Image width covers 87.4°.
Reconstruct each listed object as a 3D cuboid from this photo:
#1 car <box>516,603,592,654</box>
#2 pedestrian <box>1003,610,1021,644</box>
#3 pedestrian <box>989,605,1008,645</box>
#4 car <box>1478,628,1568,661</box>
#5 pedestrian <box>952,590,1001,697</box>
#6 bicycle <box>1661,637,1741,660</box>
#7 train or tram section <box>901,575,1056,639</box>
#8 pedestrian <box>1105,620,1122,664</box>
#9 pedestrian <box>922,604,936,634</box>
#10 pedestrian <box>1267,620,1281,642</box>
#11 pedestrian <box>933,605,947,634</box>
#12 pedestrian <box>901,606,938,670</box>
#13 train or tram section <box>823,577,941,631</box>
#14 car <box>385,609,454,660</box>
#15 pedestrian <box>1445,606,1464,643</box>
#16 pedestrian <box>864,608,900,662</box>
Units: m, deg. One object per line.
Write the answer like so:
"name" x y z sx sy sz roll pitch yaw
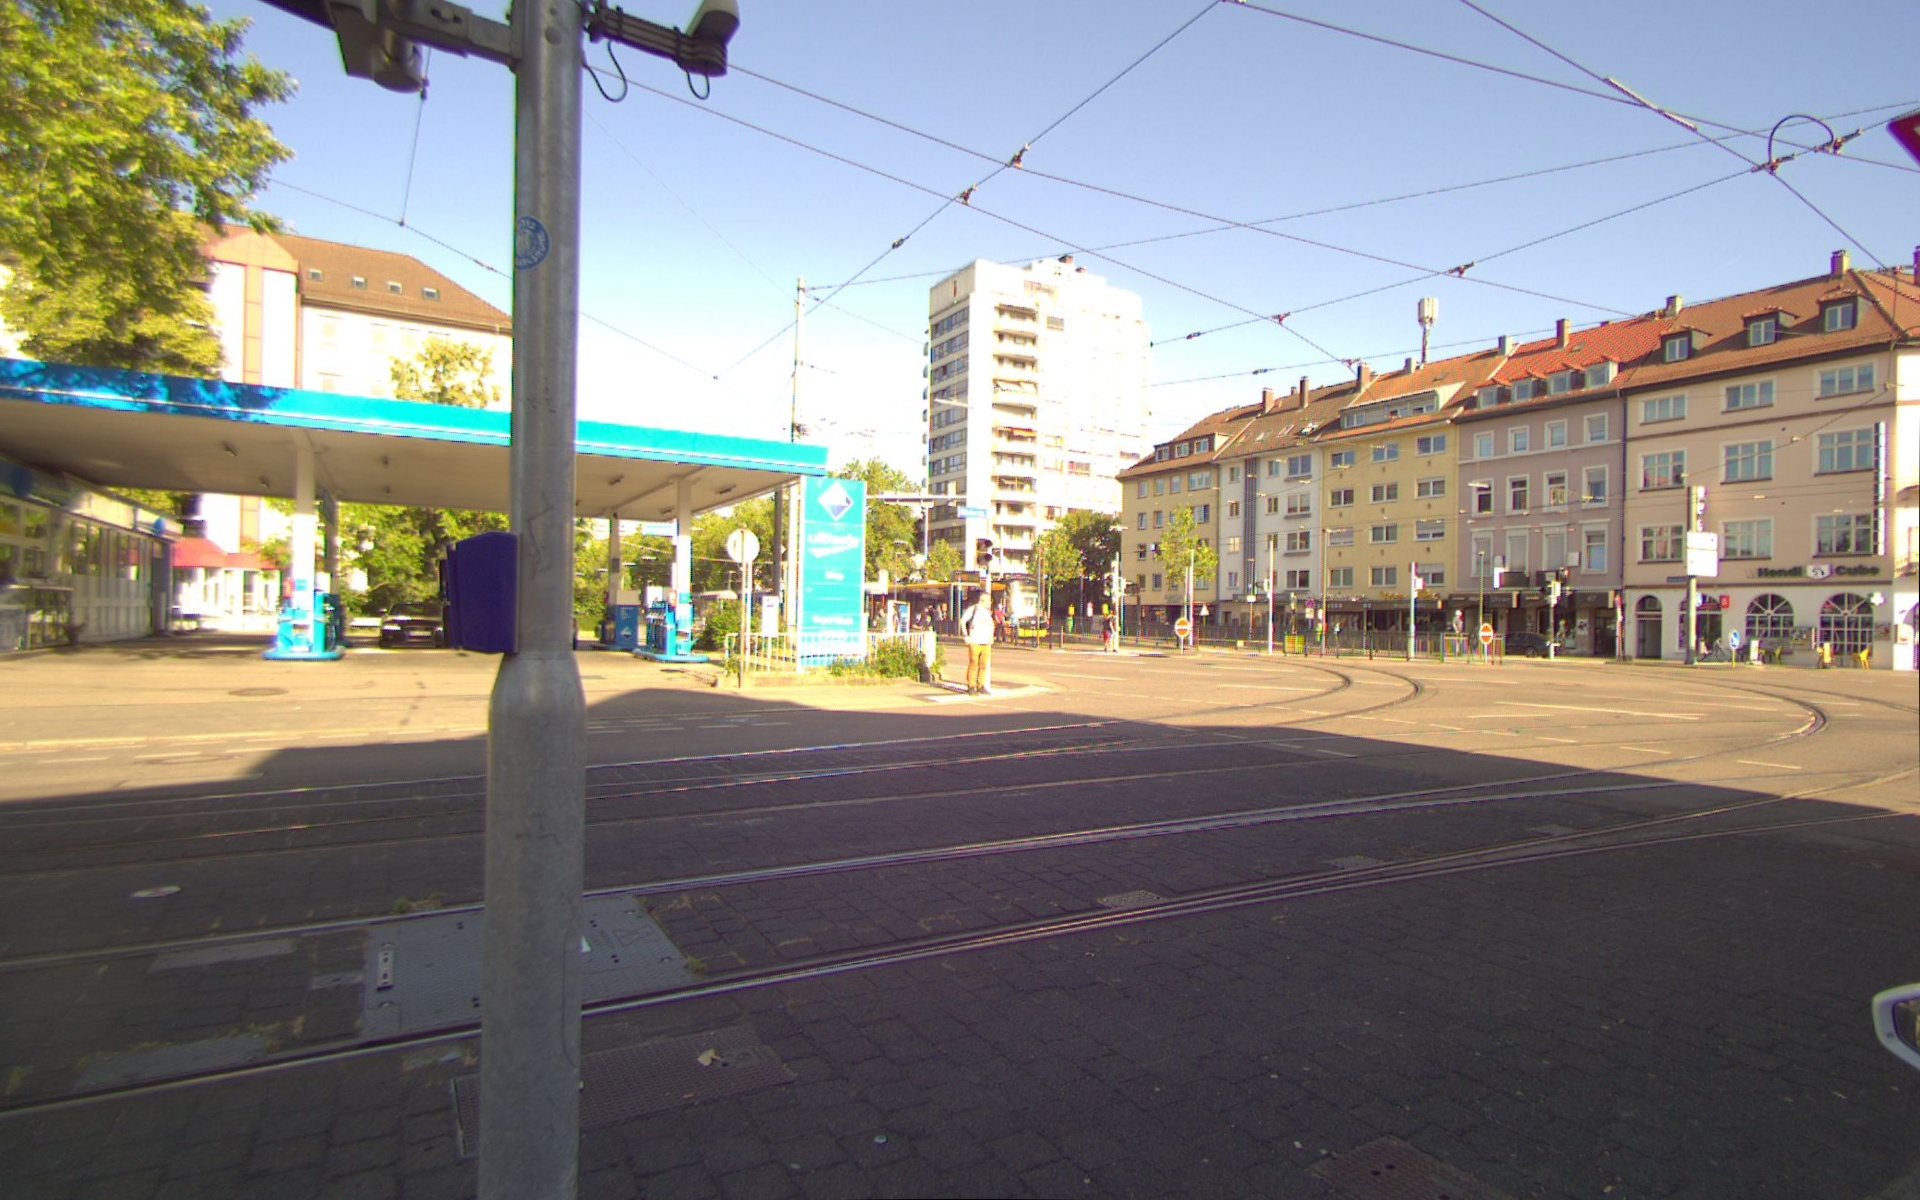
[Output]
"car" -12.232 0.828 30.173 1.764 1.411 3.455 2 0 -28
"pedestrian" 2.445 1.265 47.230 0.580 1.613 0.520 2 0 -31
"pedestrian" 1.863 1.189 48.535 0.666 1.913 0.520 2 0 -31
"car" 30.861 2.420 55.140 1.970 1.692 3.981 1 -1 -21
"pedestrian" 0.310 0.776 18.372 0.778 1.893 0.674 2 0 6
"bicycle" 37.506 2.452 50.895 0.989 0.993 3.115 2 0 -29
"train or tram section" 0.685 0.341 57.553 2.751 3.273 12.286 2 0 -31
"pedestrian" 6.065 1.659 39.596 0.575 1.686 0.525 2 0 15
"pedestrian" -1.758 1.068 56.406 0.580 1.613 0.520 2 0 -31
"pedestrian" 23.528 2.323 75.282 0.693 1.656 0.629 2 0 -33
"pedestrian" -1.126 1.089 56.735 0.580 1.613 0.520 2 0 -31
"pedestrian" -1.086 1.011 26.670 0.675 1.656 0.694 2 0 -35
"train or tram section" -5.543 0.204 68.023 2.751 3.273 12.286 2 0 -31
"car" -15.705 0.978 29.161 1.646 1.316 3.453 2 0 -30
"pedestrian" 22.439 1.100 45.610 0.570 1.649 0.522 2 0 -31
"pedestrian" -2.389 1.053 30.676 0.695 1.608 0.819 0 -1 41
